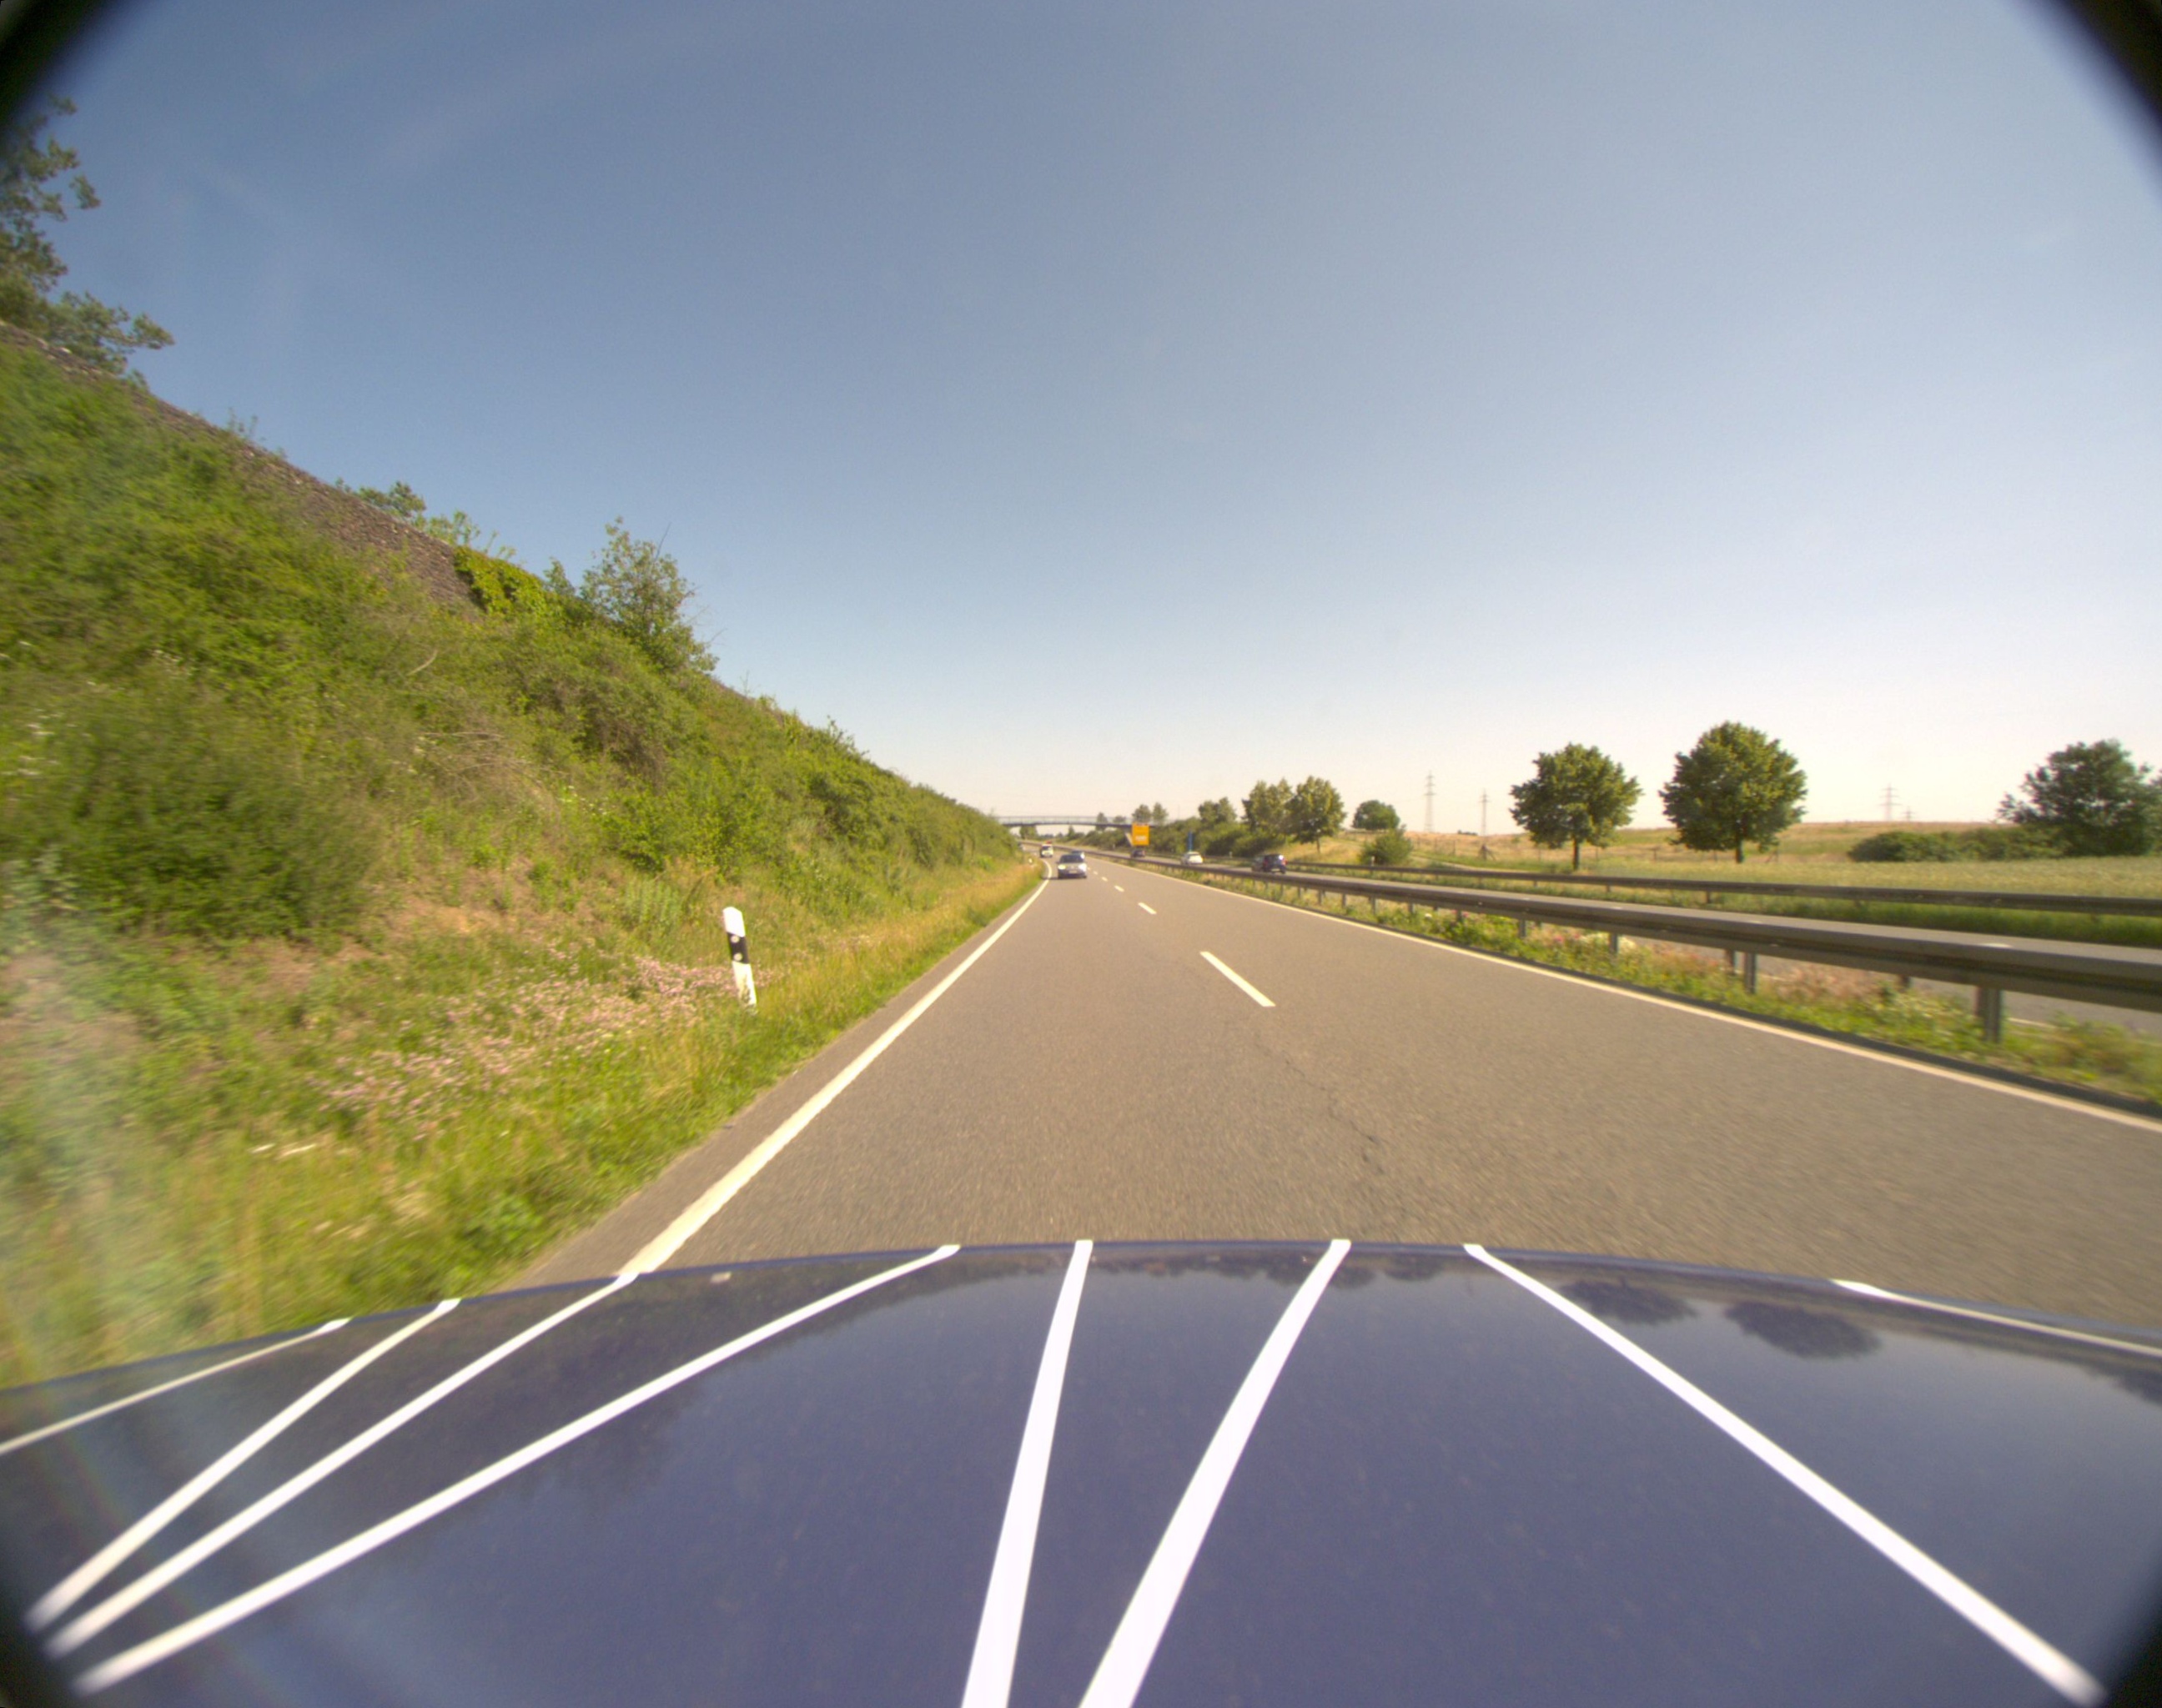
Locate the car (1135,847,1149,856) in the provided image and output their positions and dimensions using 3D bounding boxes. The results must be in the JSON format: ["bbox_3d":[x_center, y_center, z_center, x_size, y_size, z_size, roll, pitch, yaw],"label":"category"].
[{"bbox_3d":[9.821,-0.406,122.515,1.876,1.393,4.321,-2,1,-2],"label":"car"}]

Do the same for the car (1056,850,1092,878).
[{"bbox_3d":[-0.379,0.608,48.033,1.854,1.635,4.001,-2,1,5],"label":"car"}]

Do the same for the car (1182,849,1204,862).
[{"bbox_3d":[12.585,0.148,85.488,1.673,1.424,4.347,-2,1,-1],"label":"car"}]

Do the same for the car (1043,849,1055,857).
[{"bbox_3d":[-5.224,-0.177,124.335,1.791,1.212,3.997,0,2,-4],"label":"car"}]

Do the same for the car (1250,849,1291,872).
[{"bbox_3d":[13.621,0.464,54.827,1.759,1.524,3.999,-2,1,-2],"label":"car"}]
